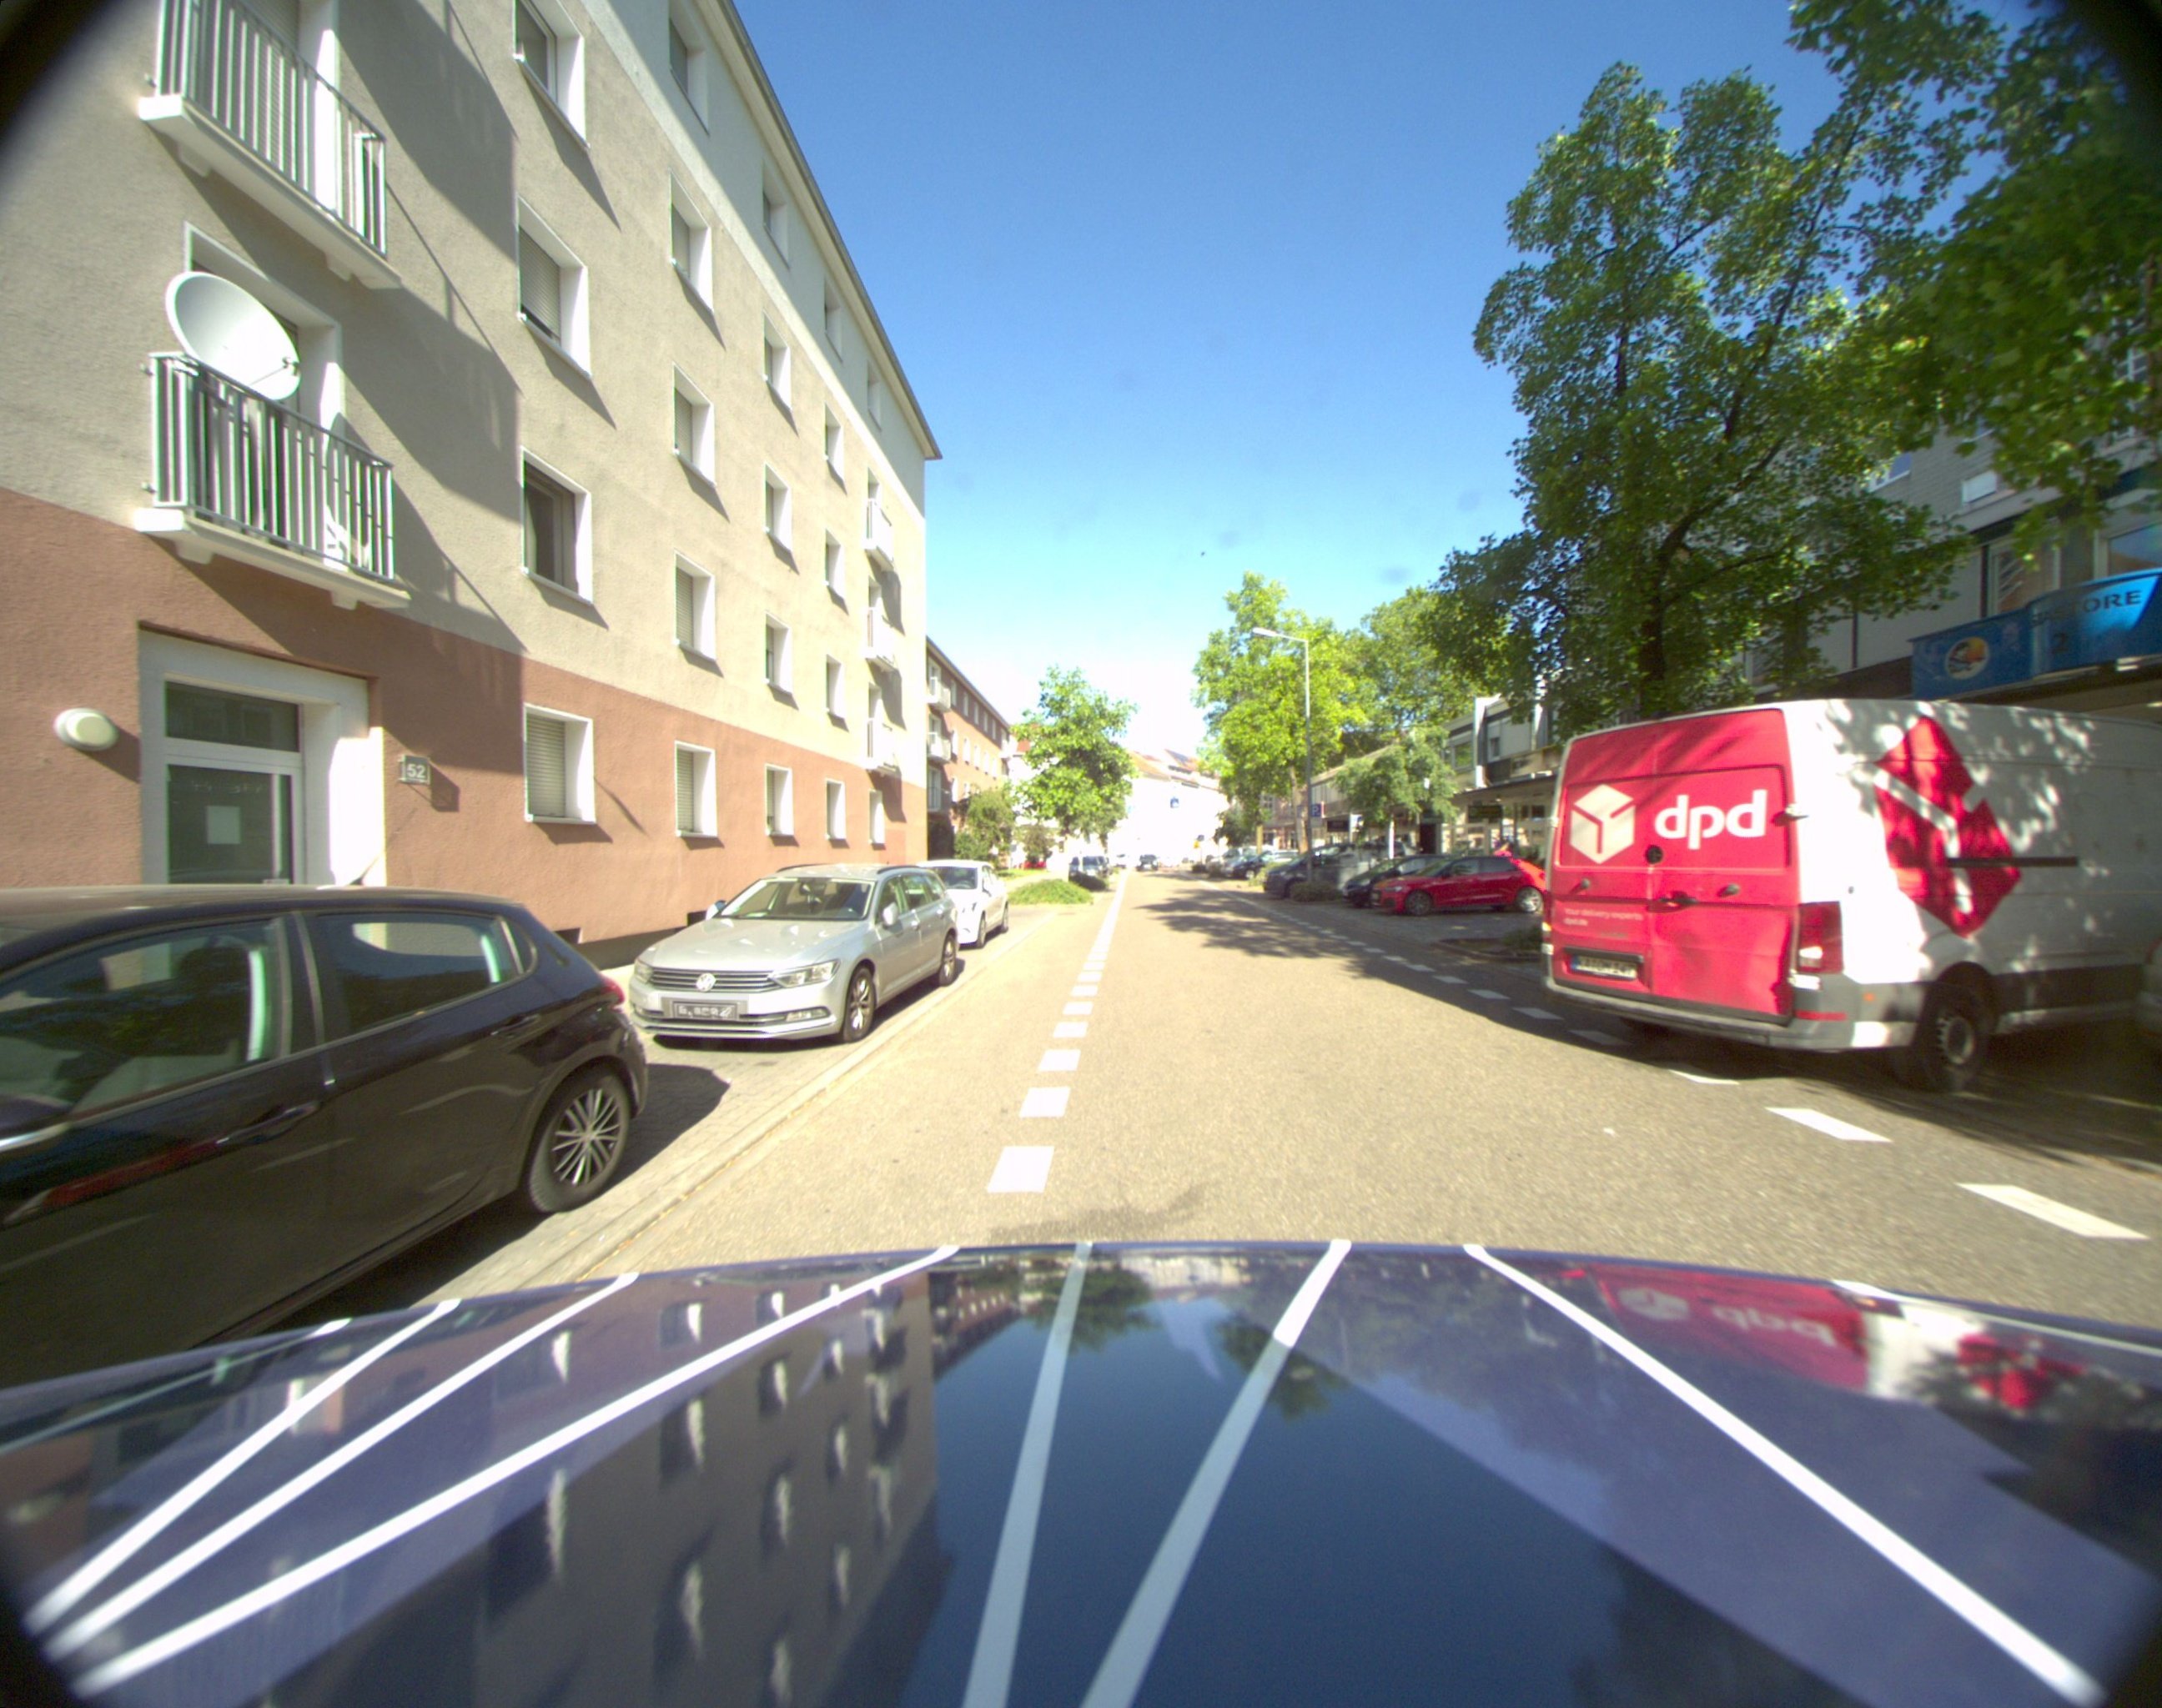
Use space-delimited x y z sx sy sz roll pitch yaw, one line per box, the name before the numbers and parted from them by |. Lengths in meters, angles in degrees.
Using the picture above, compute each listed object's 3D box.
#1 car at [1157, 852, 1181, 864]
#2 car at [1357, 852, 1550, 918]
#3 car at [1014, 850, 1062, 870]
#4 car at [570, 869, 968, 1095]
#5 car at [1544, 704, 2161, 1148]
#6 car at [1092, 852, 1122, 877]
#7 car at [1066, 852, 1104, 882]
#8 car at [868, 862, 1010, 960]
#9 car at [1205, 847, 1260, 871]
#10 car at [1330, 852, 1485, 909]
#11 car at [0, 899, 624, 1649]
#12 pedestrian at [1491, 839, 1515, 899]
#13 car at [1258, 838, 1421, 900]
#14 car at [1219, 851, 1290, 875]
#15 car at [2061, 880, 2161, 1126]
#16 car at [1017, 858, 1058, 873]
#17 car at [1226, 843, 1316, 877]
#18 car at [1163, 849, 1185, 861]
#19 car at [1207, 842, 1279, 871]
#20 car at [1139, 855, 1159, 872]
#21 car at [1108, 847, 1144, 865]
car | 10.031 0.442 86.629 1.632 1.412 3.300 0 1 27
car | 9.151 0.734 18.897 3.926 1.442 1.710 -2 0 3
car | -4.340 0.584 77.012 4.755 2.002 2.000 -1 1 -1
car | -2.586 0.947 7.678 1.789 1.451 4.518 0 1 6
car | 7.153 0.366 6.242 6.609 2.459 1.997 -1 1 -19
car | 1.669 0.601 47.257 1.661 1.473 4.312 -1 0 4
car | 0.256 0.671 40.387 1.720 1.445 4.001 0 1 4
car | -2.444 0.924 14.037 1.735 1.477 3.795 1 0 3
car | 11.766 0.400 59.077 3.996 1.781 1.758 -1 1 3
car | 9.167 0.722 21.527 3.675 1.442 1.613 -2 0 1
car | -3.168 0.975 1.819 1.713 1.471 3.711 -1 1 4
pedestrian | 12.243 0.429 22.043 0.579 1.702 0.636 0 1 32
car | 8.951 0.501 26.610 5.042 1.927 1.873 -2 0 3
car | 10.638 0.561 46.710 3.996 1.390 1.760 -1 0 2
car | 8.091 0.856 3.907 3.602 1.412 1.832 -1 1 3
car | -4.111 1.054 71.463 3.647 1.394 1.568 -1 0 4
car | 10.989 0.358 44.142 4.780 1.767 1.874 -2 0 2
car | 11.831 0.158 96.426 1.632 1.412 3.300 -1 1 27
car | 12.000 0.203 56.479 4.994 1.958 1.910 -2 0 2
car | 5.958 0.837 66.631 1.611 1.444 3.296 0 0 3
car | 4.939 0.199 82.502 1.908 1.924 4.818 0 0 30
